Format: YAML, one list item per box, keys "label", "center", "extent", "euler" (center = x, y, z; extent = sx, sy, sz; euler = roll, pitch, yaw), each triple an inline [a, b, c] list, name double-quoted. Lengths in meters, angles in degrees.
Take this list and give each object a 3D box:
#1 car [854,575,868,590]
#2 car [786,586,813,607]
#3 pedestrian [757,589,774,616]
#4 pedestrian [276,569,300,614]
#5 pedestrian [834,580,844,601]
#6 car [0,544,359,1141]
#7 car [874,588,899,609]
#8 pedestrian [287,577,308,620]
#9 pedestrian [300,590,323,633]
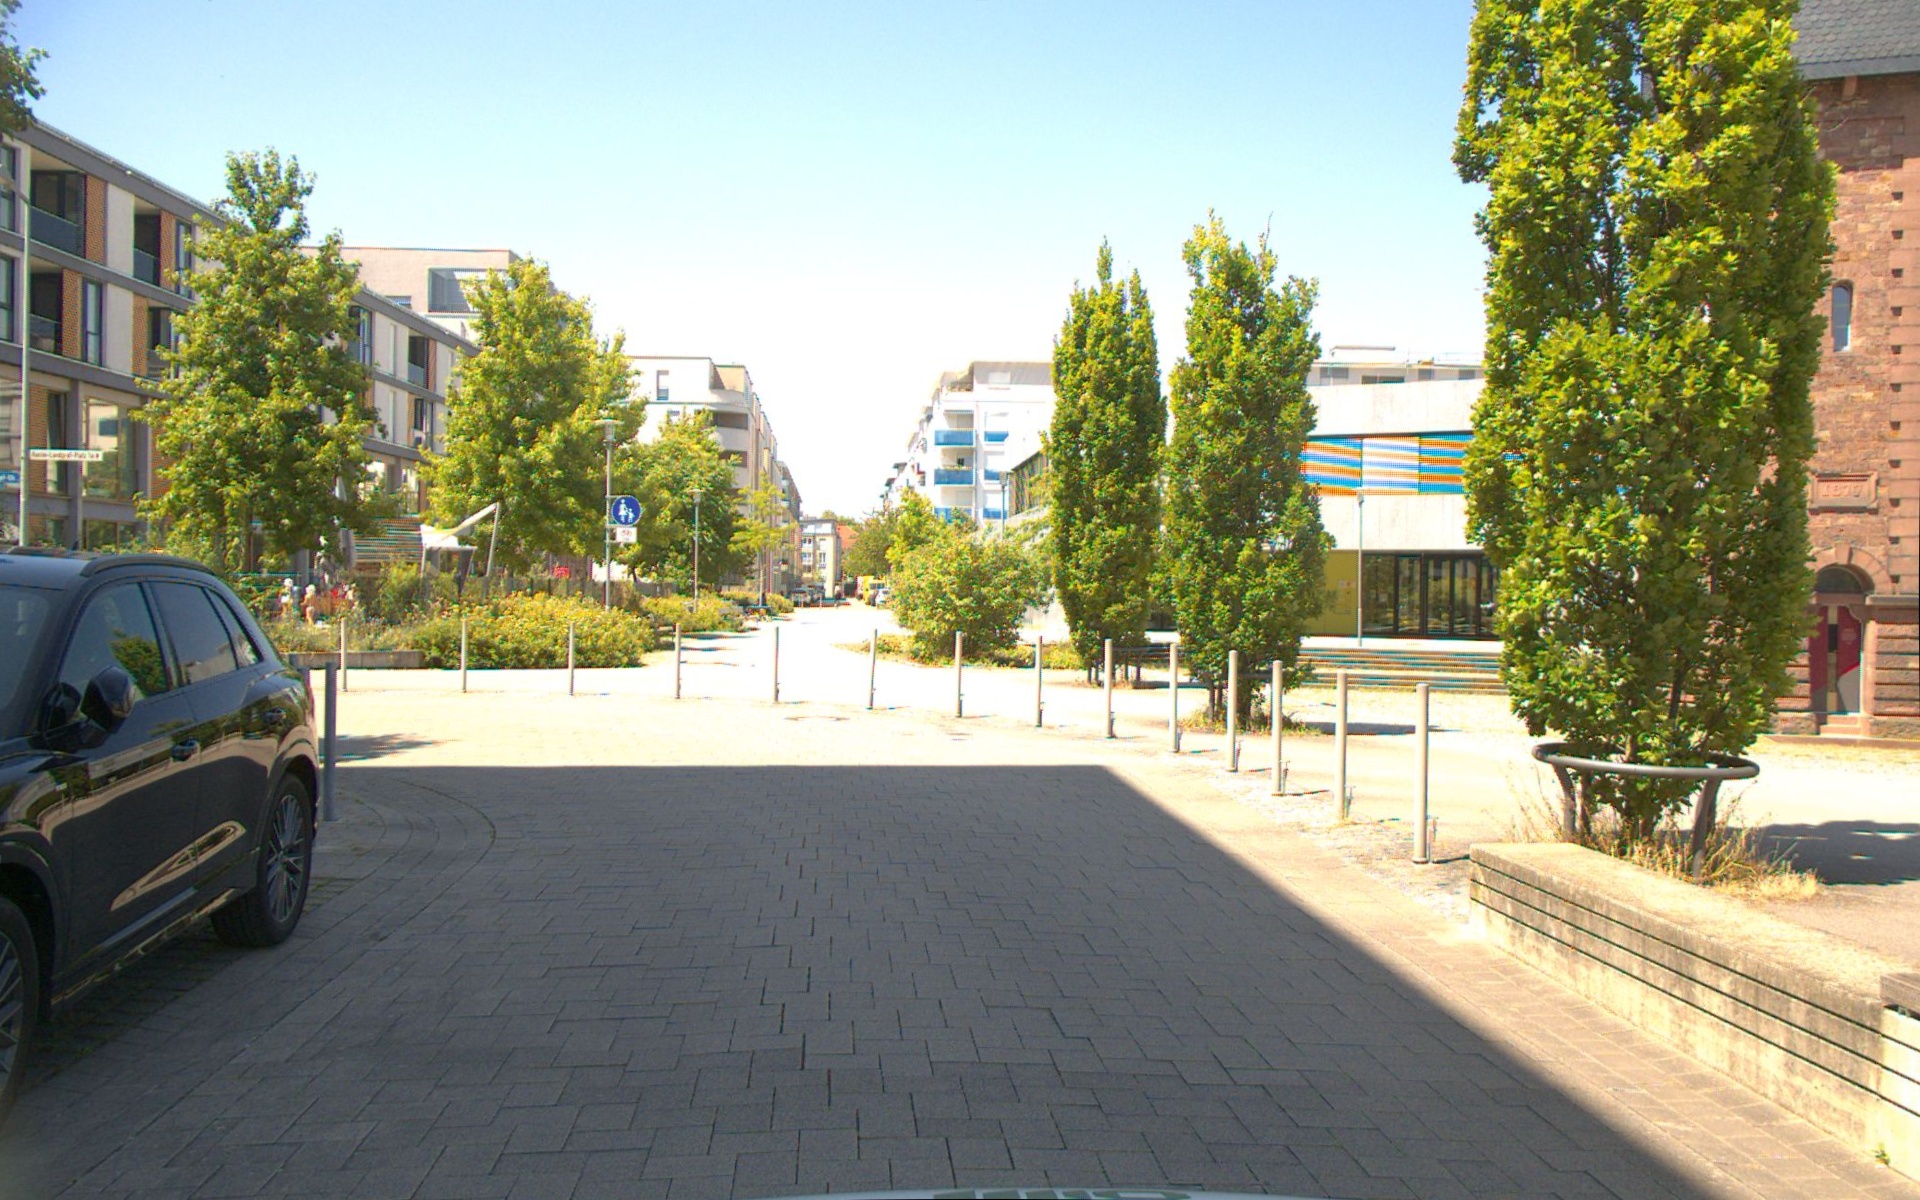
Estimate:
- label: "car"
  center: [-13.770, -2.381, 229.726]
  extent: [1.954, 2.049, 3.996]
  euler: [1, 0, -4]
- label: "car"
  center: [-13.800, -0.296, 142.778]
  extent: [2.103, 1.681, 4.086]
  euler: [1, 0, -3]
- label: "pedestrian"
  center: [-10.139, 0.112, 86.264]
  extent: [0.830, 1.372, 0.695]
  euler: [1, 0, -4]
- label: "pedestrian"
  center: [-15.698, -0.193, 38.657]
  extent: [0.276, 1.043, 0.411]
  euler: [0, -2, 32]
- label: "pedestrian"
  center: [-8.819, -0.679, 120.848]
  extent: [0.680, 1.556, 0.598]
  euler: [1, 0, -2]
- label: "car"
  center: [-3.436, 0.584, 5.319]
  extent: [1.739, 1.546, 4.391]
  euler: [2, 0, -6]
- label: "car"
  center: [-5.970, -0.131, 134.704]
  extent: [1.953, 1.637, 3.998]
  euler: [1, 0, -2]
- label: "pedestrian"
  center: [-16.301, -0.025, 40.723]
  extent: [0.389, 1.044, 0.411]
  euler: [1, -1, -11]
- label: "pedestrian"
  center: [-15.232, 0.265, 38.842]
  extent: [0.378, 0.988, 0.291]
  euler: [1, -1, 11]
